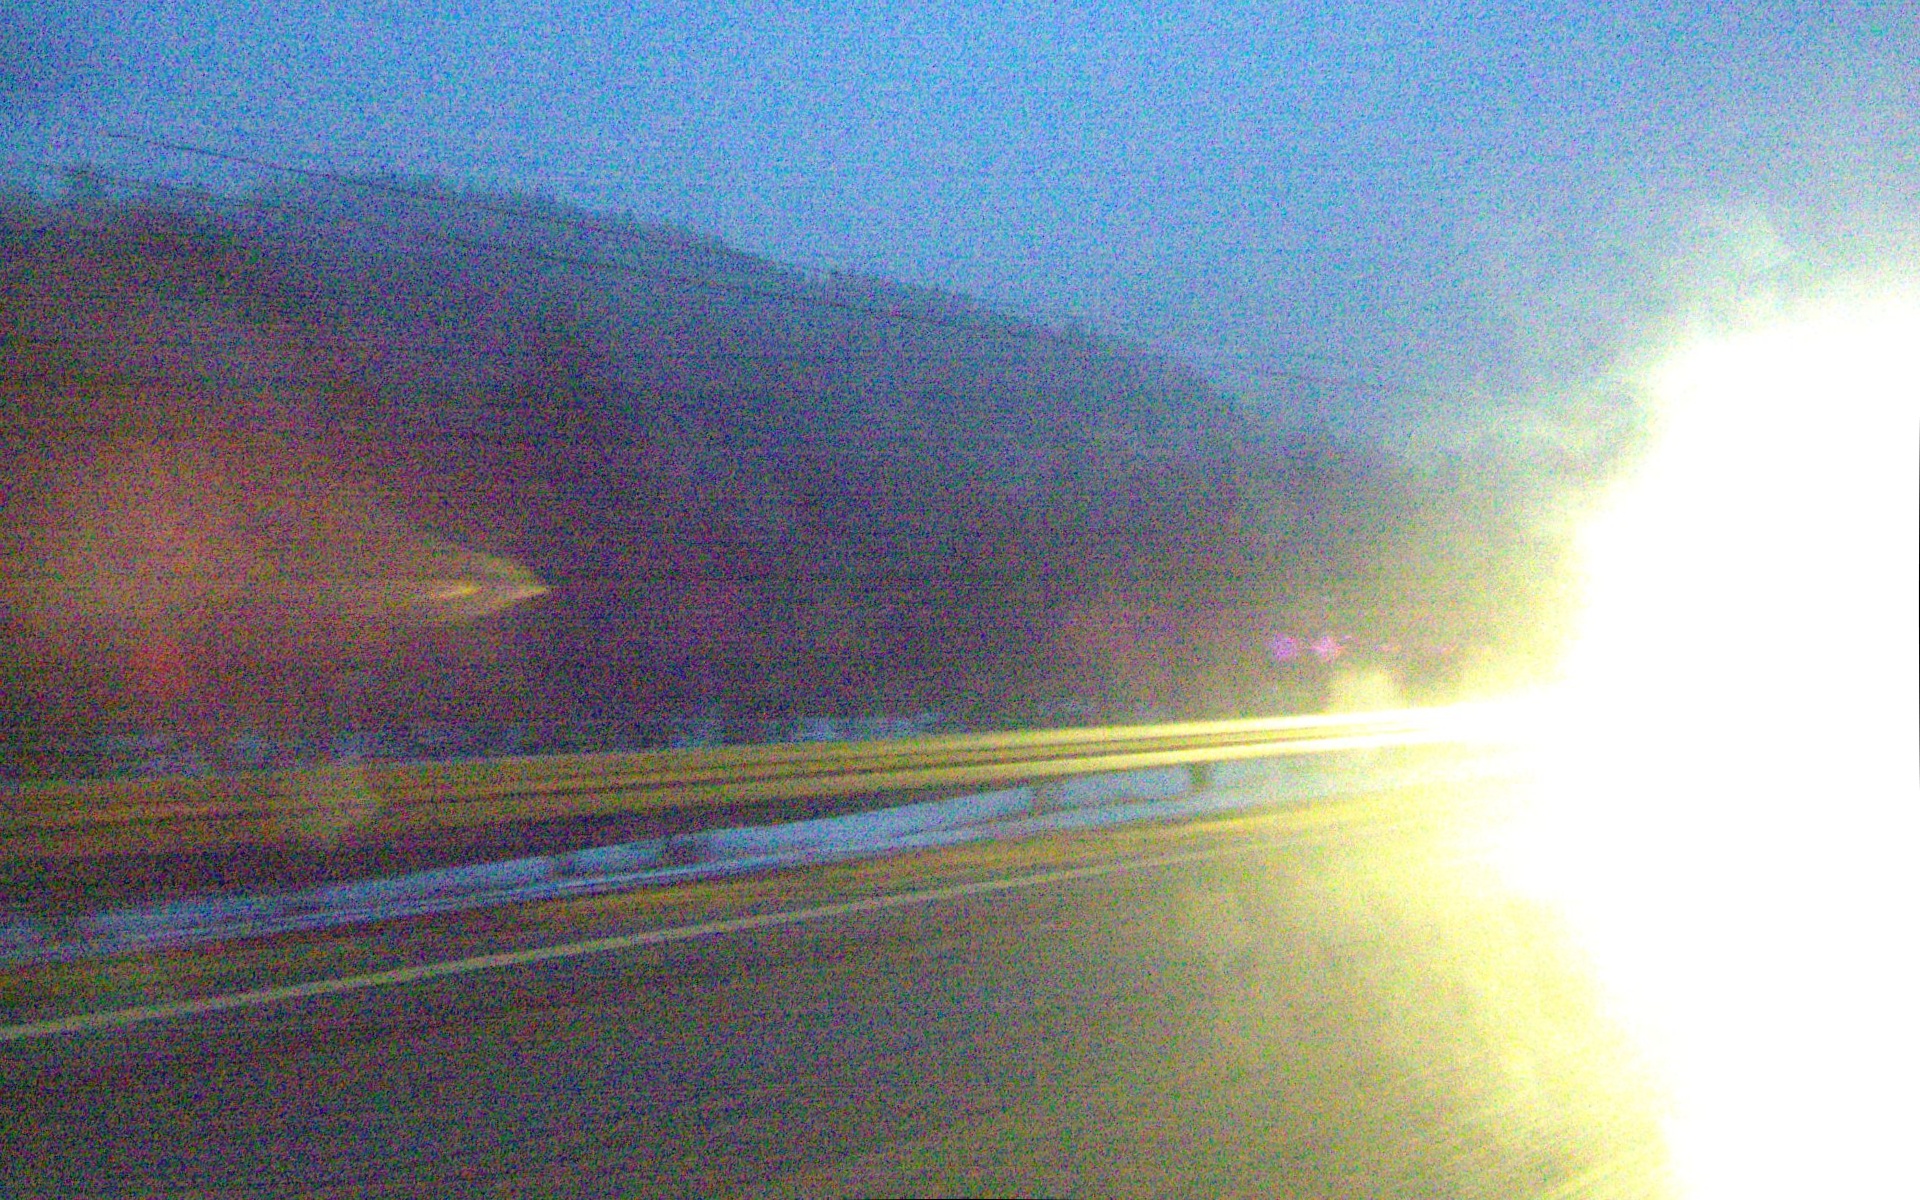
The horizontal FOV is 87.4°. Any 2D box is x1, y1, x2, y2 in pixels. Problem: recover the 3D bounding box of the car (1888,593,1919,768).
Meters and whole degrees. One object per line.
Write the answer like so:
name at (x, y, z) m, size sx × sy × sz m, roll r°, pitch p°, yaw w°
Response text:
car at (12.175, 0.909, 10.868) m, size 4.196 × 1.816 × 1.984 m, roll 2°, pitch 0°, yaw -30°
